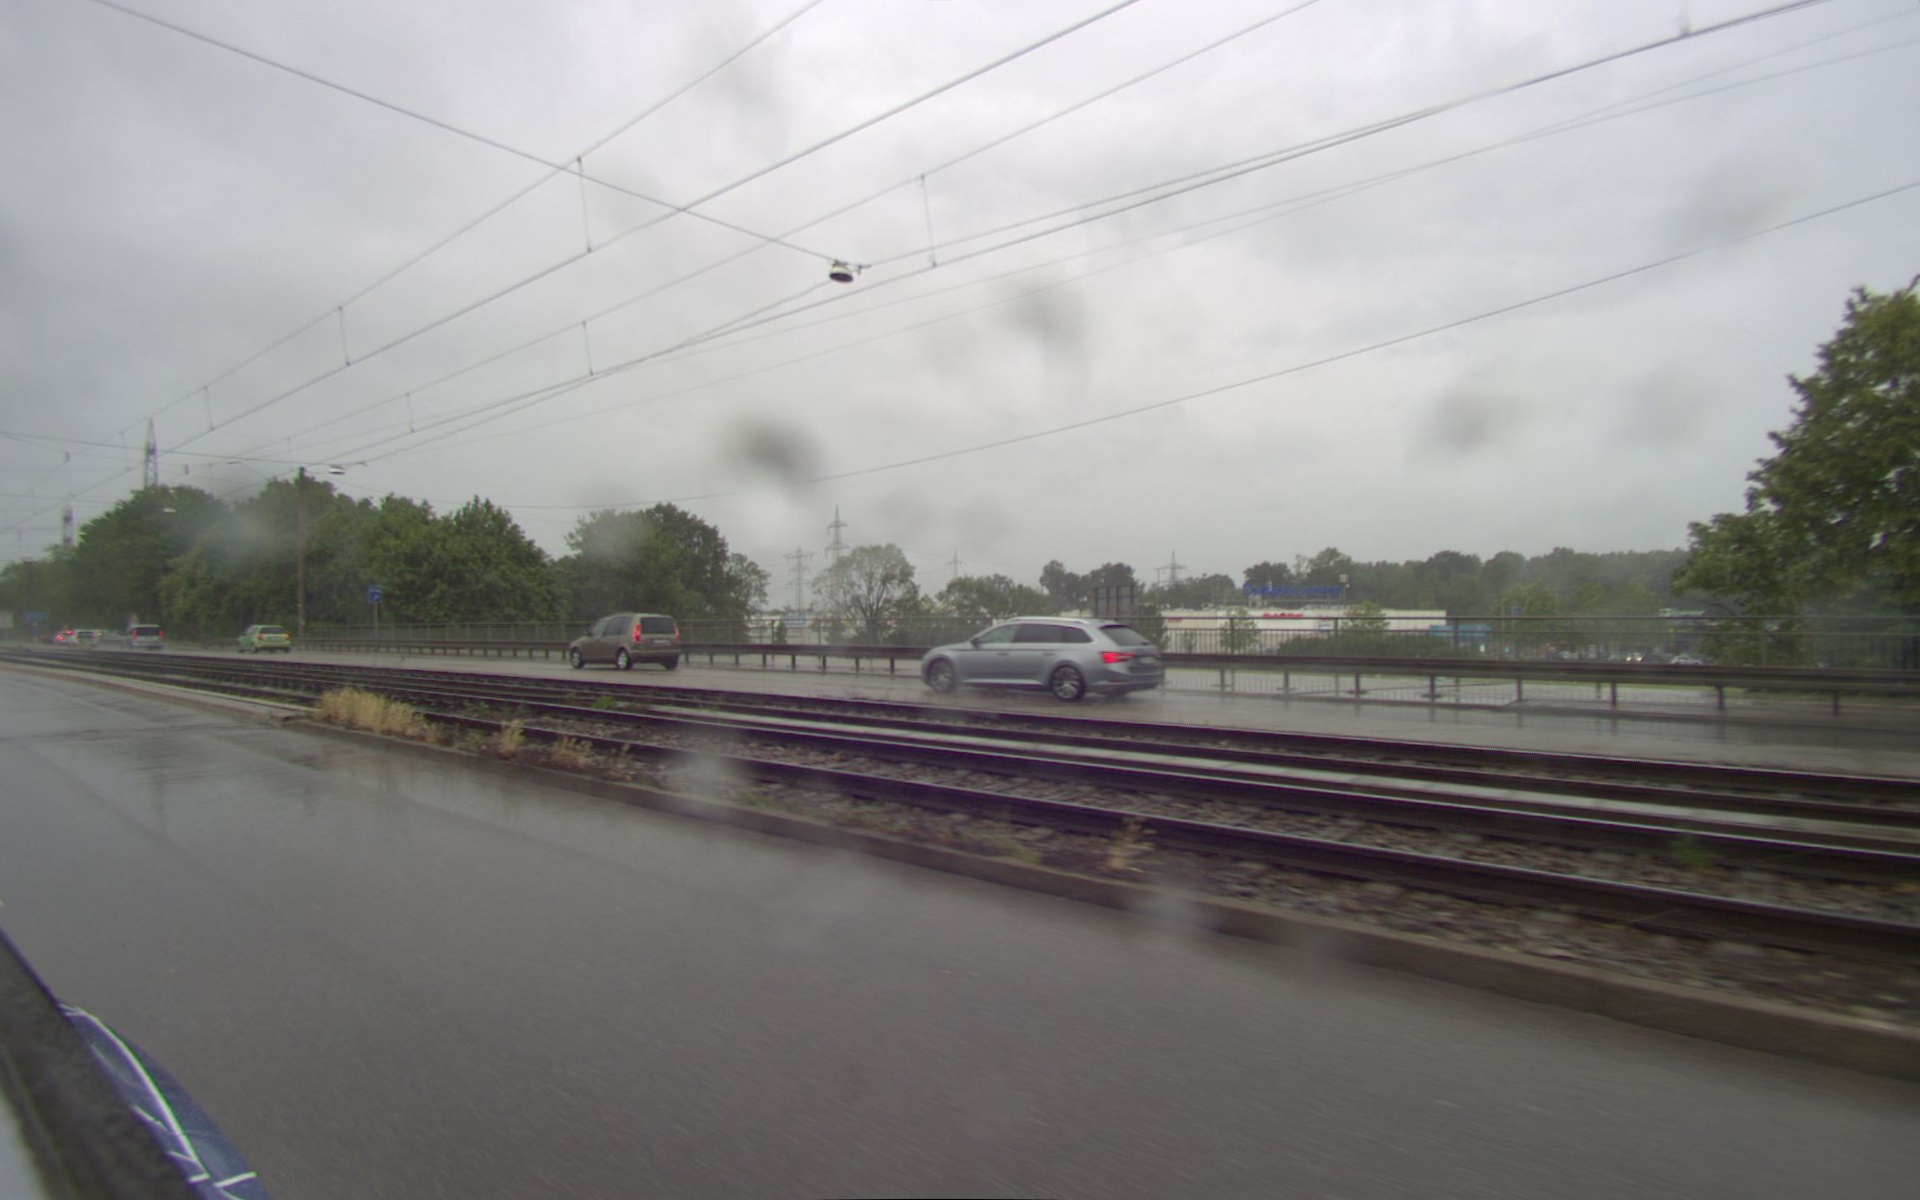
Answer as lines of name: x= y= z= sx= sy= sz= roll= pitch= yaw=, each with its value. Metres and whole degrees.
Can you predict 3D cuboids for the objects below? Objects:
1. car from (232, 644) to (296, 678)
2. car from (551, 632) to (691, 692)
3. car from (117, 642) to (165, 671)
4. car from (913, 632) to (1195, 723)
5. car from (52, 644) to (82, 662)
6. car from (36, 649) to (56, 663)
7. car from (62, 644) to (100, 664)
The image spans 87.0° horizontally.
car: x=-36.350 y=3.153 z=52.824 sx=3.998 sy=1.606 sz=1.827 roll=-2 pitch=-1 yaw=41
car: x=-9.947 y=1.755 z=29.538 sx=4.380 sy=1.586 sz=1.823 roll=-2 pitch=-1 yaw=39
car: x=-57.304 y=3.923 z=70.769 sx=4.392 sy=1.845 sz=1.829 roll=-2 pitch=2 yaw=41
car: x=1.591 y=1.331 z=18.422 sx=4.849 sy=1.399 sz=1.973 roll=-2 pitch=-2 yaw=40
car: x=-97.360 y=5.765 z=110.294 sx=4.659 sy=1.724 sz=1.814 roll=-2 pitch=2 yaw=41
car: x=-118.782 y=7.286 z=131.516 sx=1.753 sy=1.642 sz=3.673 roll=-4 pitch=2 yaw=-45
car: x=-76.561 y=4.642 z=88.093 sx=3.998 sy=1.630 sz=1.973 roll=-2 pitch=-2 yaw=41
